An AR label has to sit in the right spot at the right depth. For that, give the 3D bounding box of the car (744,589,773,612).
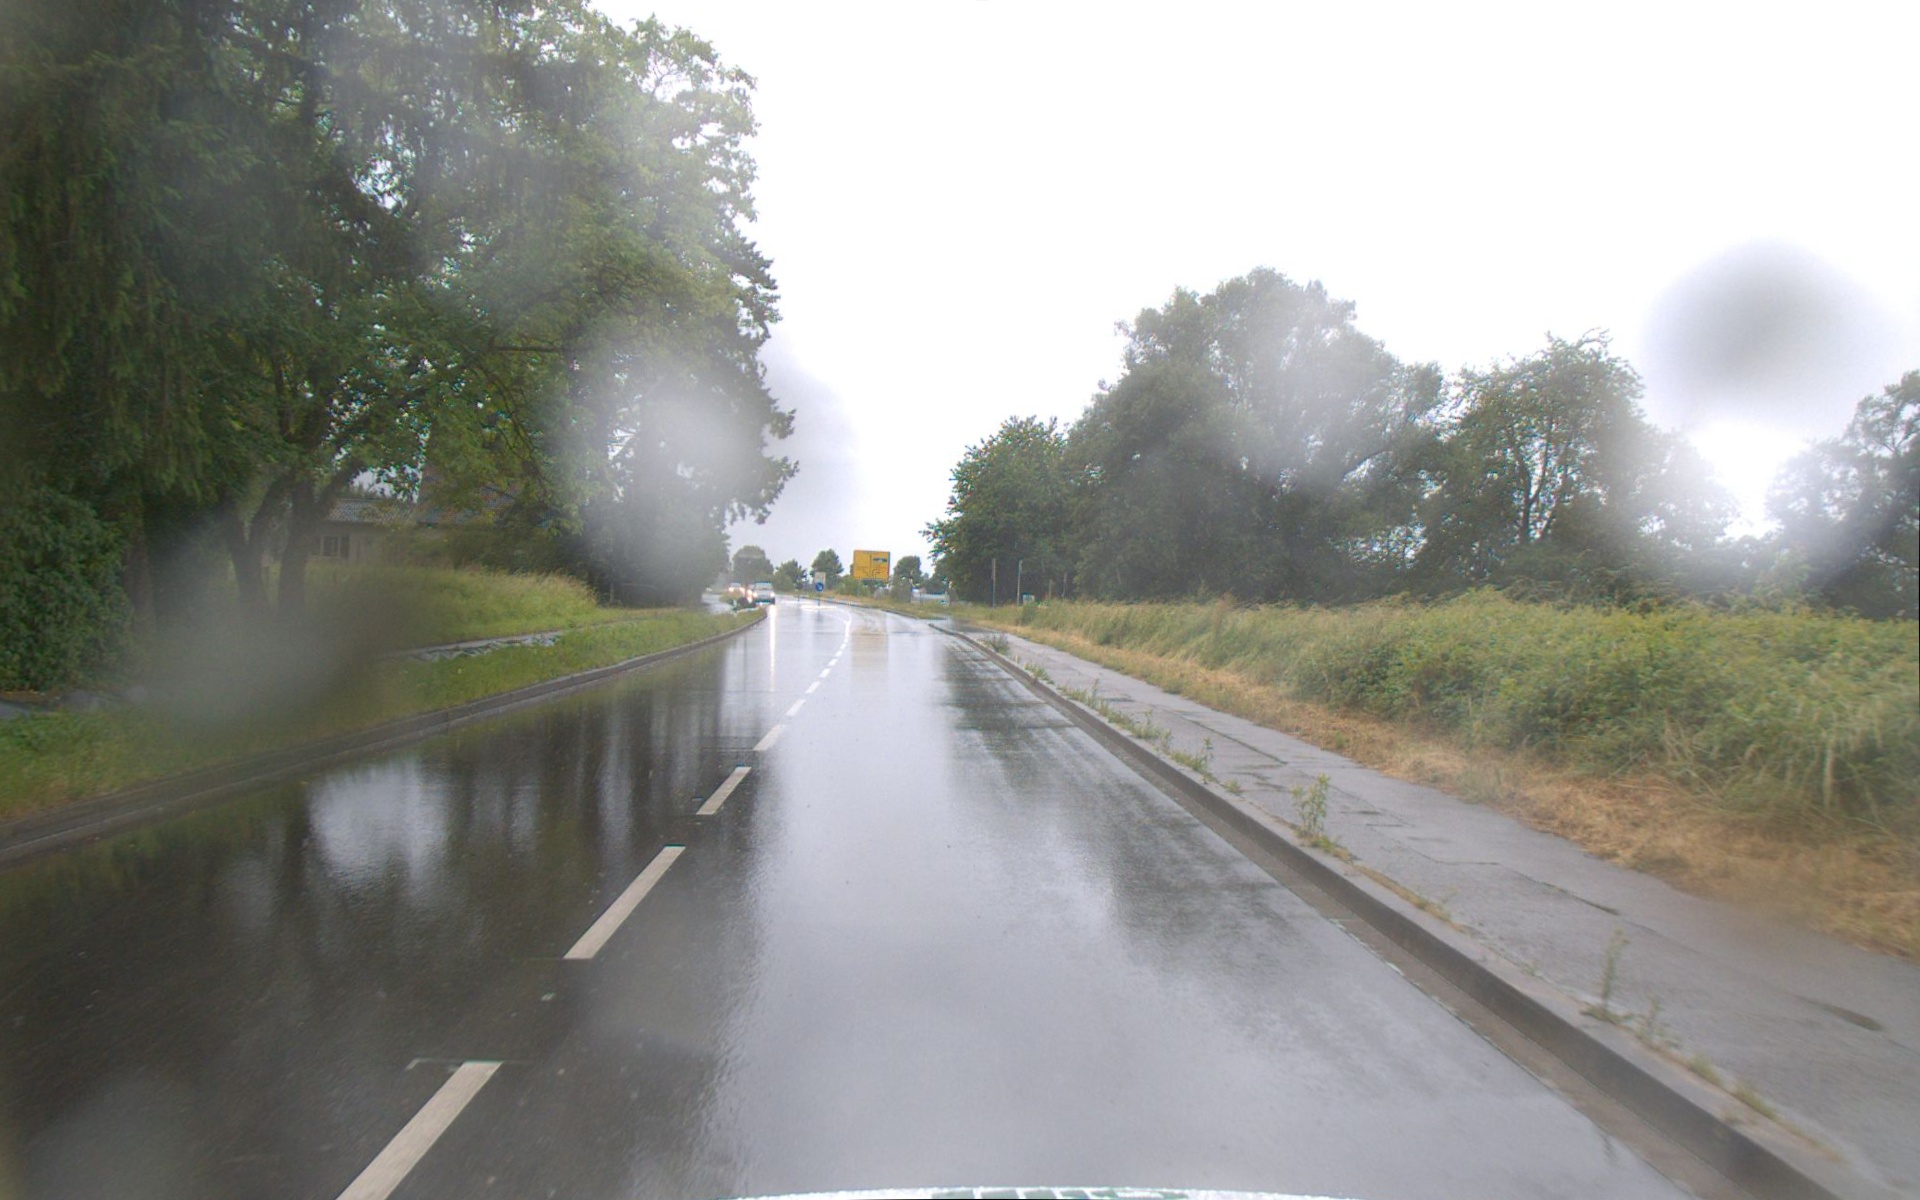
[{"bbox_3d":[-15.526,0.021,127.119,1.730,1.579,3.987,2,2,-13],"label":"car"}]
